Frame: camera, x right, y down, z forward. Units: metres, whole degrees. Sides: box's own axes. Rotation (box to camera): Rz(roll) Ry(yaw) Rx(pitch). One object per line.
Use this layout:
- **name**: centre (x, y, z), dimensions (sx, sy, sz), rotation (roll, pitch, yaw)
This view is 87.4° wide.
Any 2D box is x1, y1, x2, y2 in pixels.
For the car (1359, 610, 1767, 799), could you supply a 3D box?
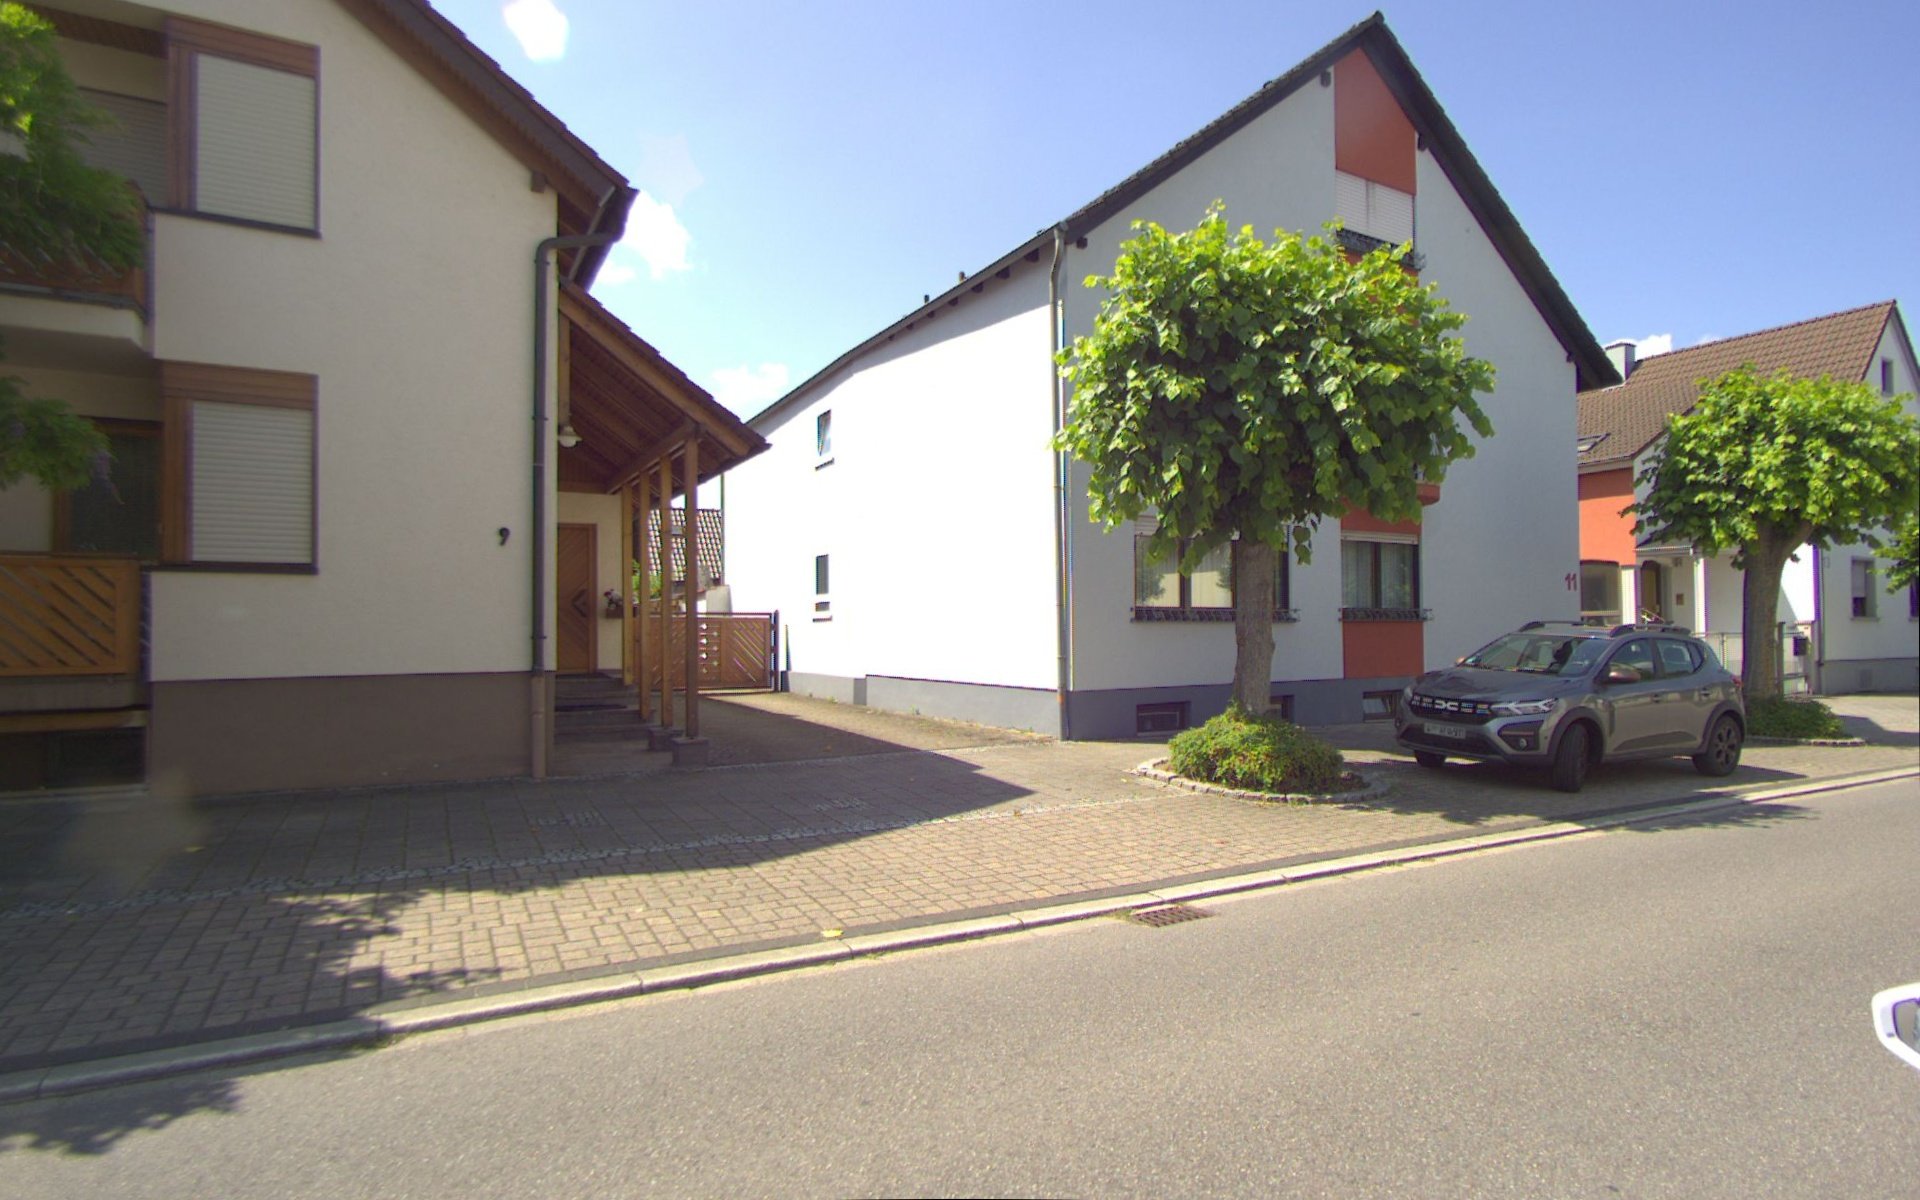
- **car**: centre (6.399, 0.967, 10.614), dimensions (4.082, 1.634, 1.846), rotation (1, 0, -28)
